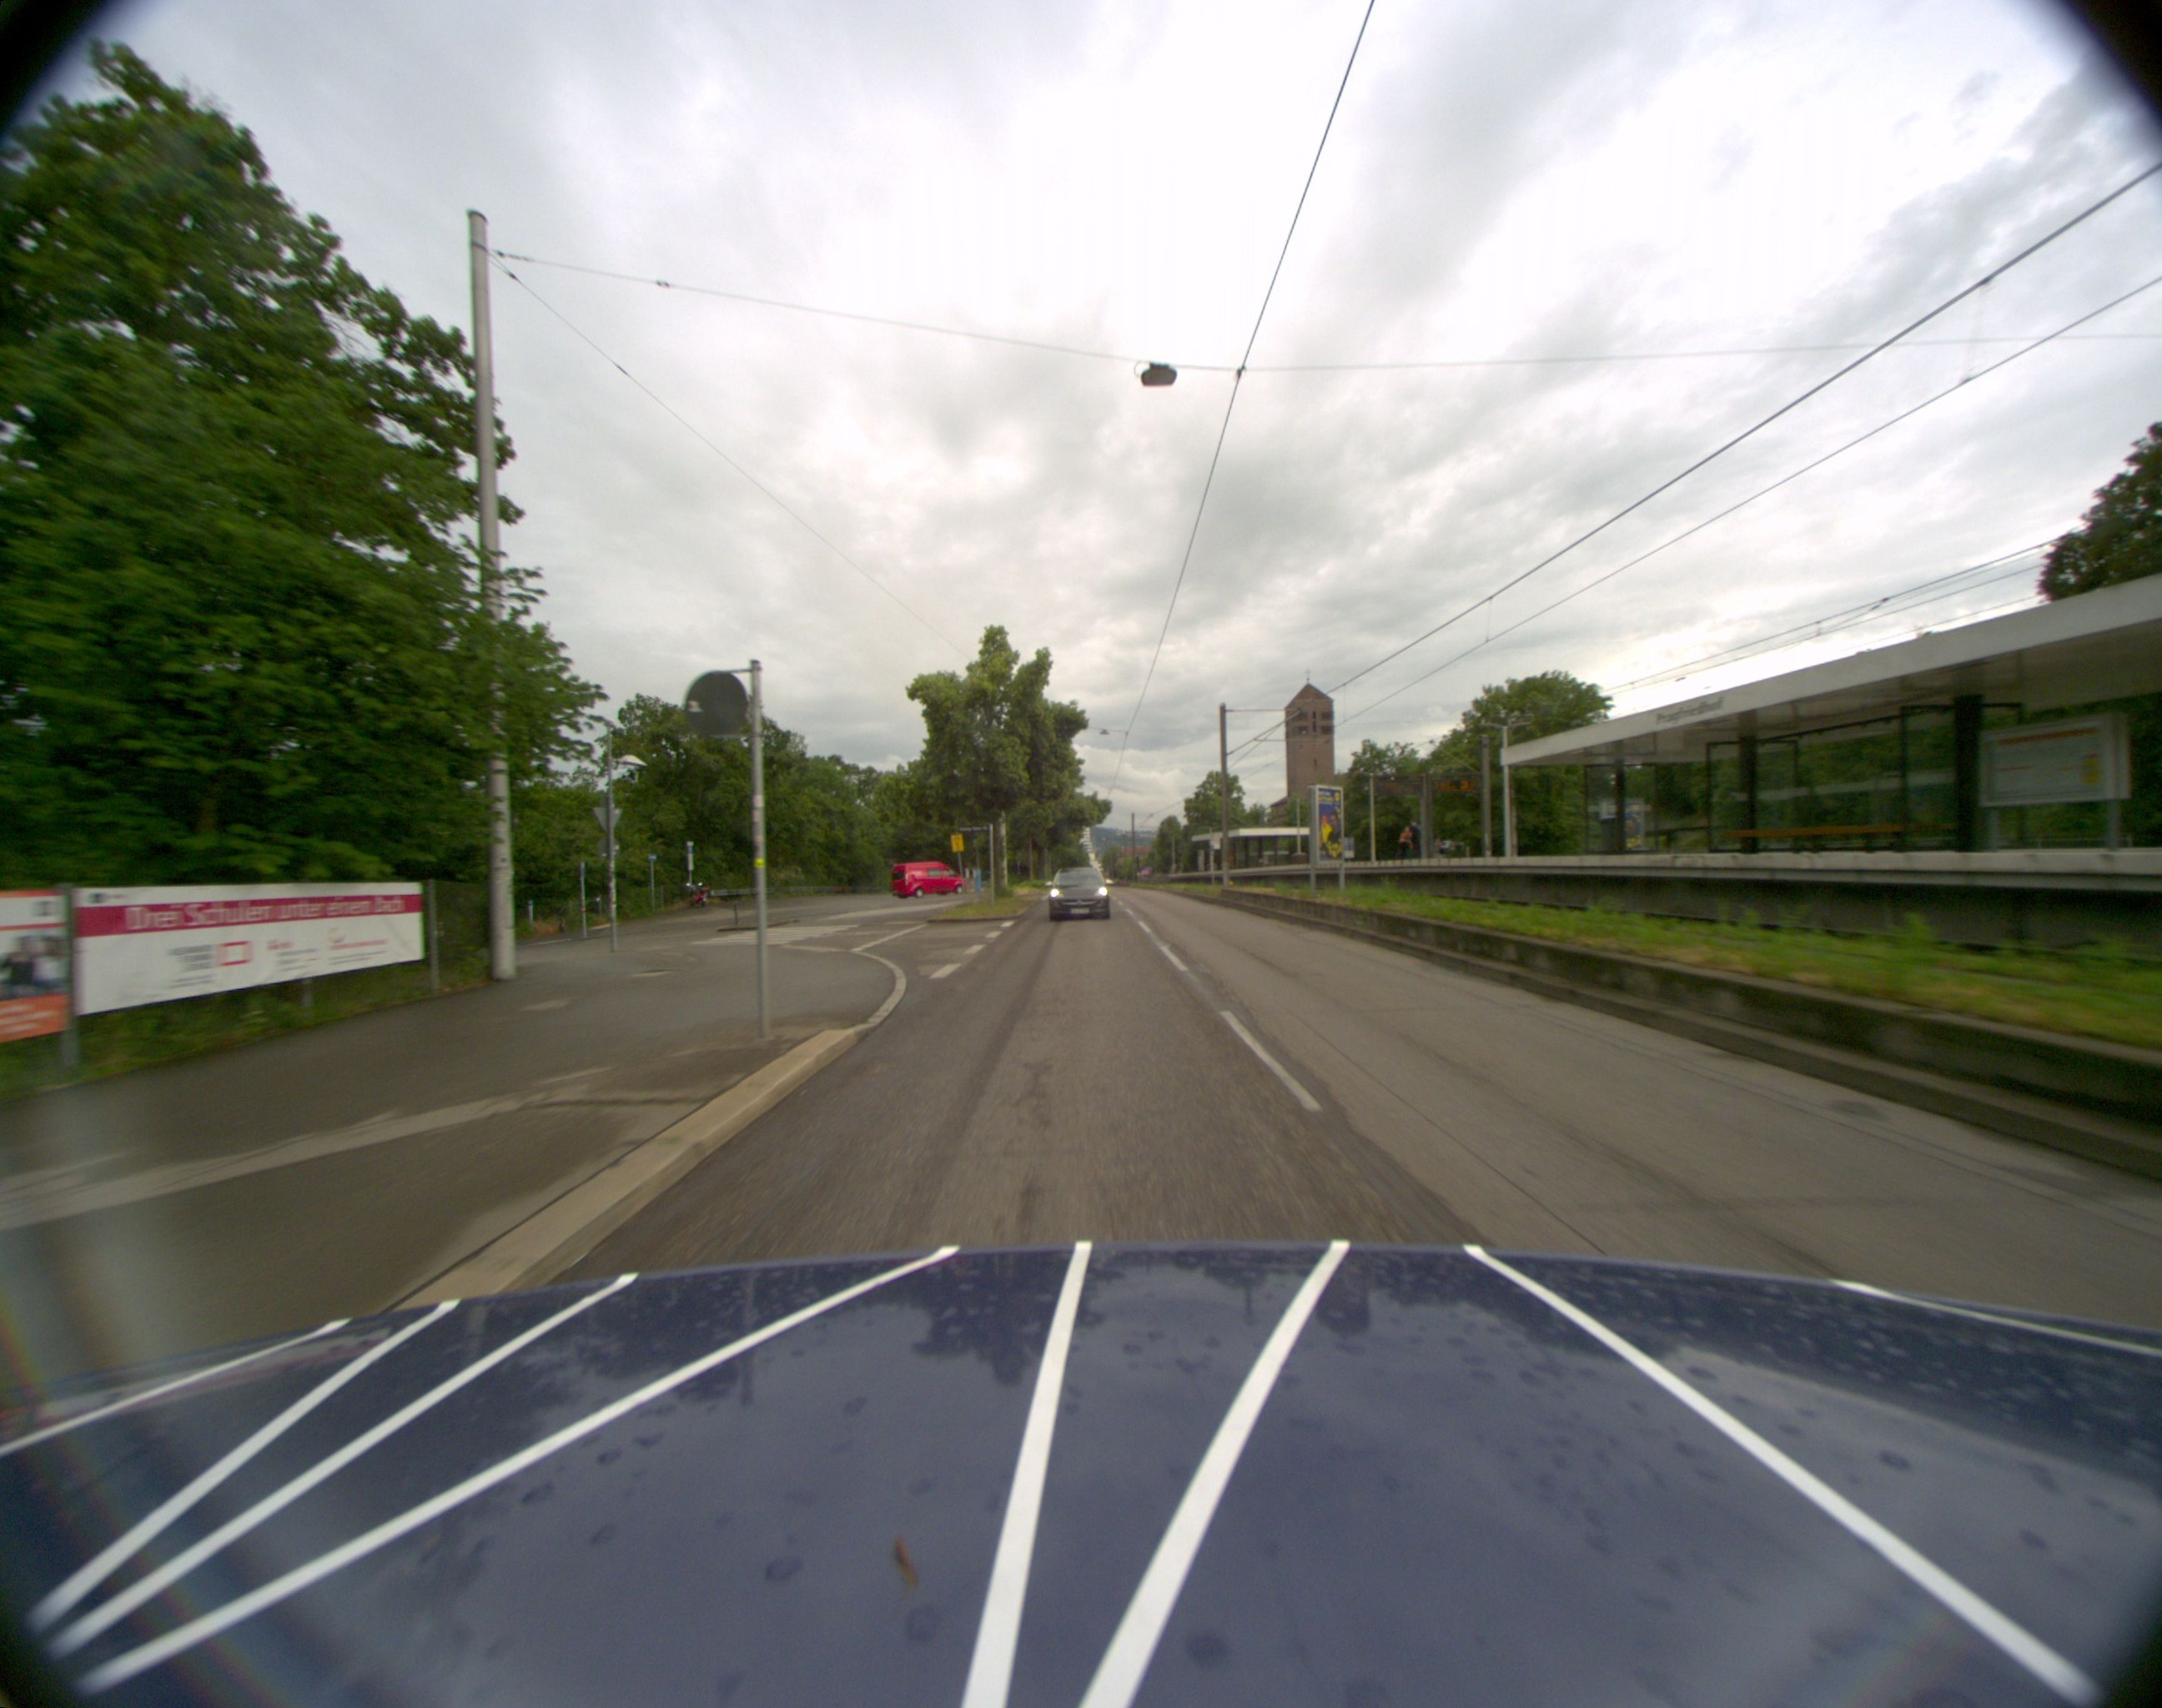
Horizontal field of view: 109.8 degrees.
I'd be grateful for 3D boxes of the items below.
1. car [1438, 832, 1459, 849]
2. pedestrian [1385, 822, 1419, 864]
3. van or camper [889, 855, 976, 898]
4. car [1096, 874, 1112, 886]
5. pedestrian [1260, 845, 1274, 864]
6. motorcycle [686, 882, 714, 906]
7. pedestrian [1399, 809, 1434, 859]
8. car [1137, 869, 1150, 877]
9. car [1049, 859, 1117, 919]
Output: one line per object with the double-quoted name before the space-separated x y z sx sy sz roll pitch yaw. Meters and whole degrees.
"car" 46.136 -1.713 95.457 1.995 2.002 4.007 -3 0 30
"pedestrian" 13.201 -0.440 31.262 0.798 1.636 0.917 -3 -3 -22
"van or camper" -9.867 1.448 50.899 2.037 2.391 5.401 -7 -2 43
"car" 2.858 3.249 95.470 1.768 1.502 4.343 -2 -2 4
"pedestrian" 12.060 0.024 49.302 0.712 1.218 0.619 -2 -1 -1
"motorcycle" -20.906 2.166 41.625 2.018 1.207 0.474 1 6 38
"pedestrian" 13.392 -0.788 30.333 0.746 1.897 0.841 -3 -2 -21
"car" 12.396 3.733 150.452 1.999 1.614 4.518 -2 -1 -2
"car" 0.036 1.019 22.656 1.746 1.543 4.495 -3 -2 -1
